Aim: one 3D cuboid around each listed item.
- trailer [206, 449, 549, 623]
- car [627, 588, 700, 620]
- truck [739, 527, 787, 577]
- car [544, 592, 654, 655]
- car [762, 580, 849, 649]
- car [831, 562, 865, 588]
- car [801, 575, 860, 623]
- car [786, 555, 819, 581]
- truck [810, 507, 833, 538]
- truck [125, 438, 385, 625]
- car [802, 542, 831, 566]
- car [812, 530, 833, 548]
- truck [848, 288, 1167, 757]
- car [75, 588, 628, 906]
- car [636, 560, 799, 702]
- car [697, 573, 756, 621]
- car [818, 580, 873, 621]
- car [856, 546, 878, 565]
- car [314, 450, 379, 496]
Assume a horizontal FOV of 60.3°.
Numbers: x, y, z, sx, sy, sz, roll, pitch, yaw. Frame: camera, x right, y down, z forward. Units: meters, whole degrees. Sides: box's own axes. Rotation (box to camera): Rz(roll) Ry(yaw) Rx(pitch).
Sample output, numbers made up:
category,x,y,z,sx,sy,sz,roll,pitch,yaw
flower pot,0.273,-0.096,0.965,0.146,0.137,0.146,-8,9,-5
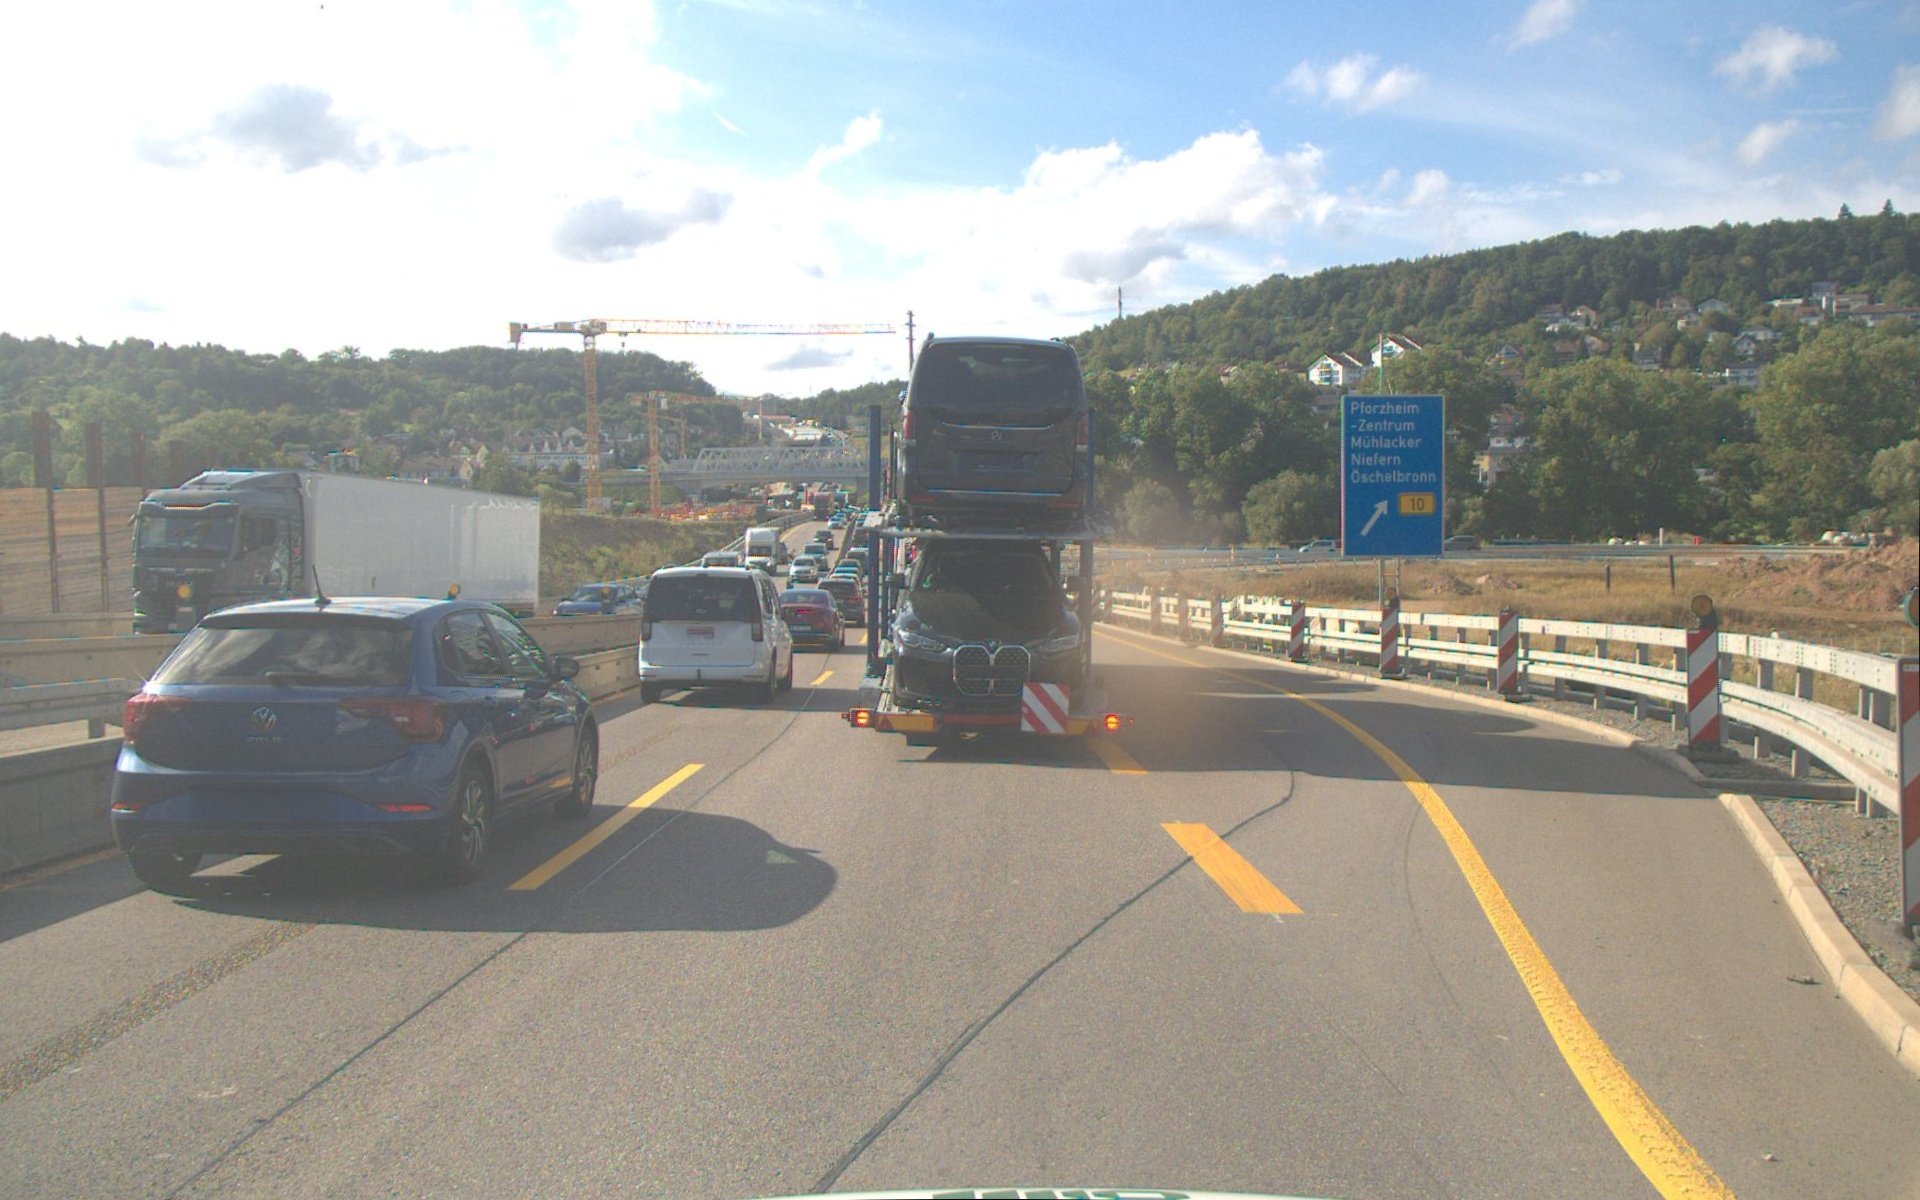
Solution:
category,x,y,z,sx,sy,sz,roll,pitch,yaw
trailer,-14.877,-1.405,44.209,2.761,3.908,13.813,0,0,7
car,-12.436,0.164,69.672,1.879,1.295,4.003,1,0,7
truck,-14.349,-3.488,121.188,2.645,3.369,7.536,1,0,-1
car,-10.657,0.676,49.130,1.951,1.757,4.125,0,0,6
car,-3.750,0.355,40.724,1.954,1.584,4.398,1,0,-3
car,-7.270,-1.601,107.769,1.953,1.579,3.999,1,0,-1
car,-4.510,-0.015,57.375,1.955,1.579,3.995,1,0,-6
car,-10.437,-2.120,109.619,2.084,1.703,4.269,0,2,-4
truck,-20.437,-11.379,243.879,2.860,4.463,6.275,1,1,-8
truck,-15.696,-1.413,37.369,2.718,3.855,6.022,0,0,7
car,-11.078,-3.576,127.824,2.084,1.796,5.027,1,2,-4
car,-13.494,-5.946,162.484,1.815,1.664,4.748,-1,1,-2
truck,0.133,-0.625,23.911,2.698,4.024,18.882,2,0,-2
car,-3.185,0.698,9.573,1.686,1.447,4.000,0,-1,1
car,-3.357,0.415,23.563,1.786,1.823,3.999,1,0,-1
car,-12.395,-0.126,88.036,2.211,2.444,5.868,1,0,1
car,-4.497,0.029,65.346,1.953,1.579,3.999,1,0,-1
car,-8.218,-3.888,145.471,1.808,1.677,4.501,0,1,-5
car,-36.565,-7.525,98.680,1.954,2.177,5.318,-5,0,-3
